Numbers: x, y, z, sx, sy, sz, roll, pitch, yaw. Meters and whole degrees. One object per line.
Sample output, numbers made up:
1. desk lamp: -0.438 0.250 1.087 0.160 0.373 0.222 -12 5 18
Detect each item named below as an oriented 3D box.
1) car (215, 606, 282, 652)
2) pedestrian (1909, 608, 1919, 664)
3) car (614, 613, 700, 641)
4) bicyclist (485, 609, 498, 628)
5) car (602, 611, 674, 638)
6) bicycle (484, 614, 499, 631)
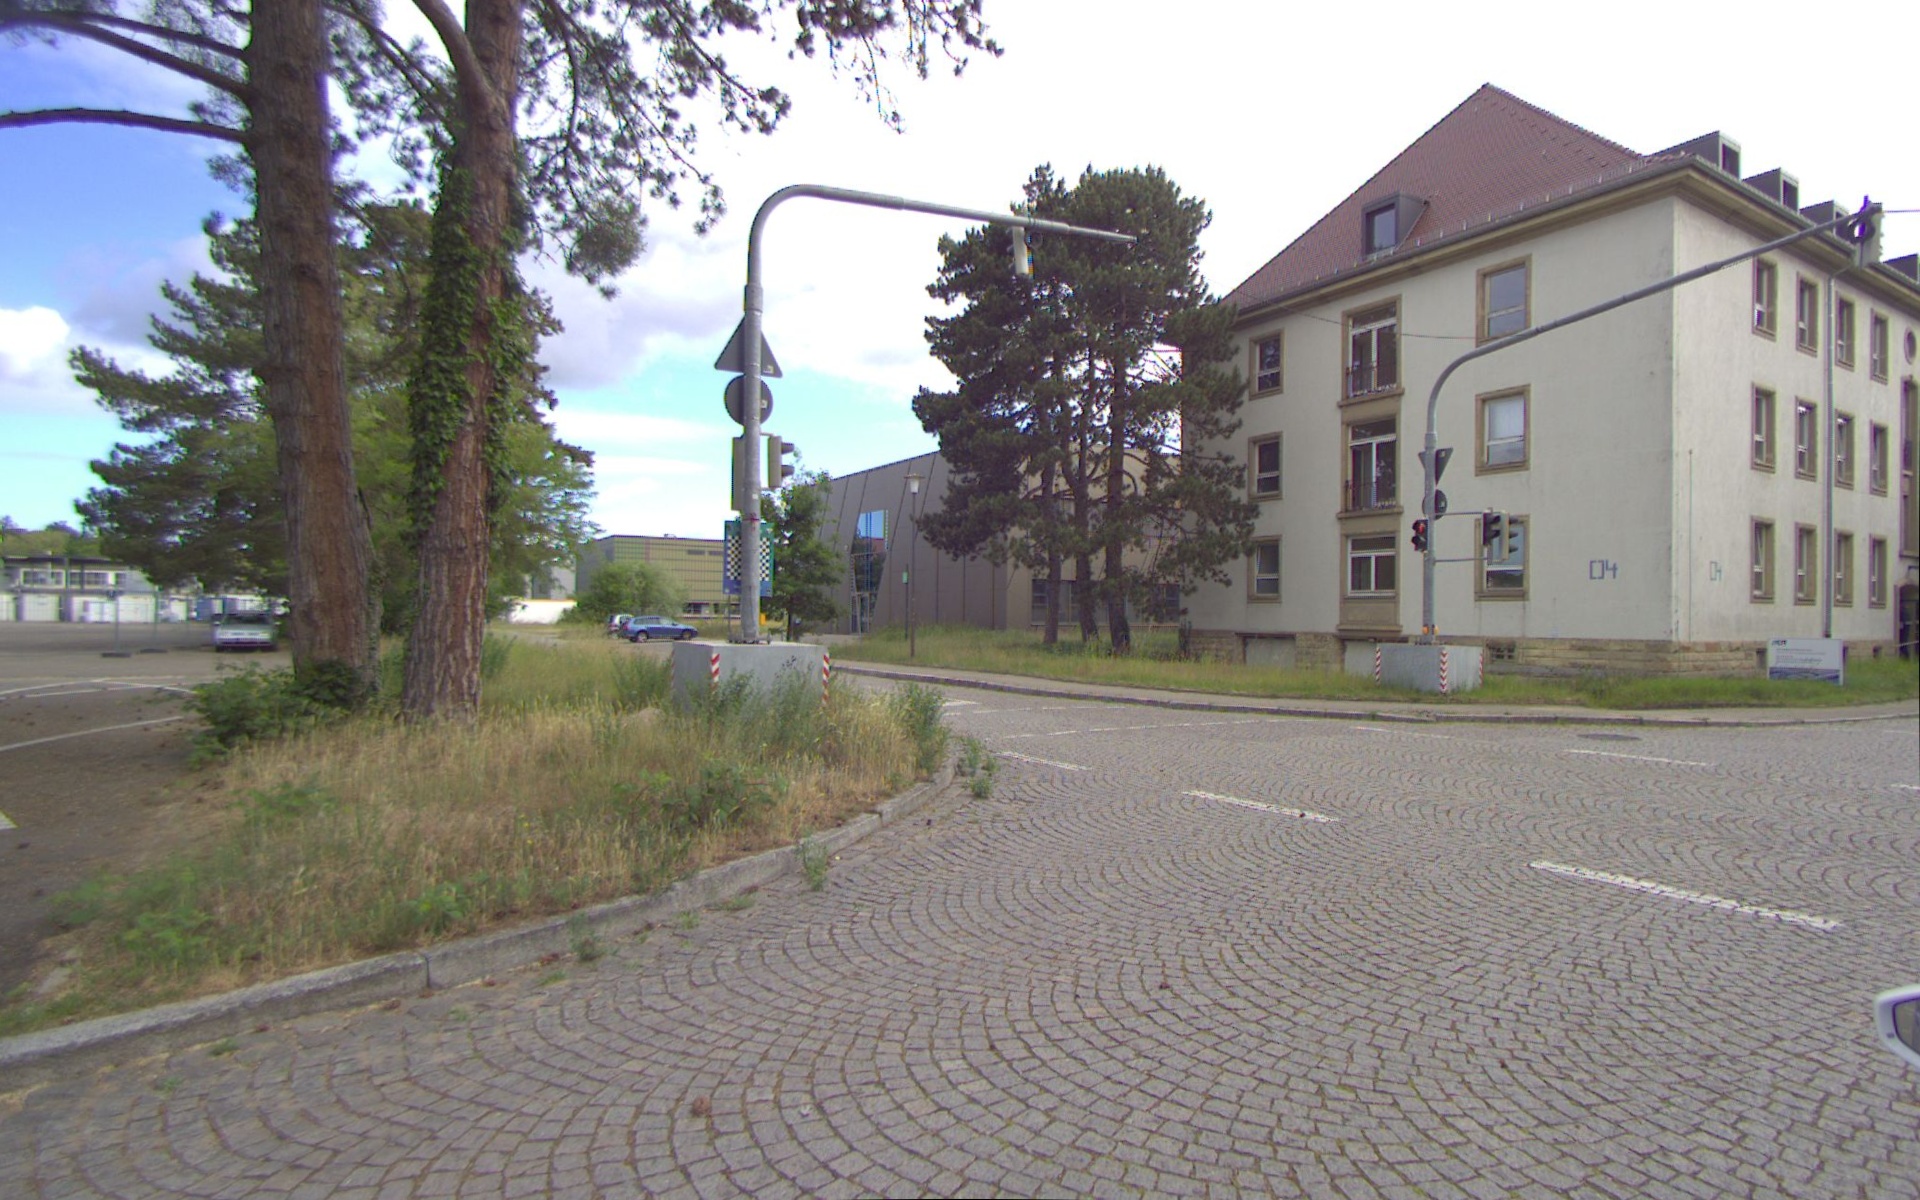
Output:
1. car: -25.287 0.994 35.811 1.717 1.451 4.123 1 0 -33
2. pedestrian: 31.829 1.184 32.882 0.929 1.805 0.834 1 -1 -27
3. car: -17.521 1.548 58.160 4.450 1.482 1.916 -1 0 -35
4. bicyclist: -39.596 1.546 84.883 0.891 1.562 0.860 2 0 -33
5. car: -20.783 1.550 64.844 4.079 1.593 1.748 -1 0 -35
6. bicycle: -39.615 1.892 84.908 0.817 1.395 2.024 2 0 -33
